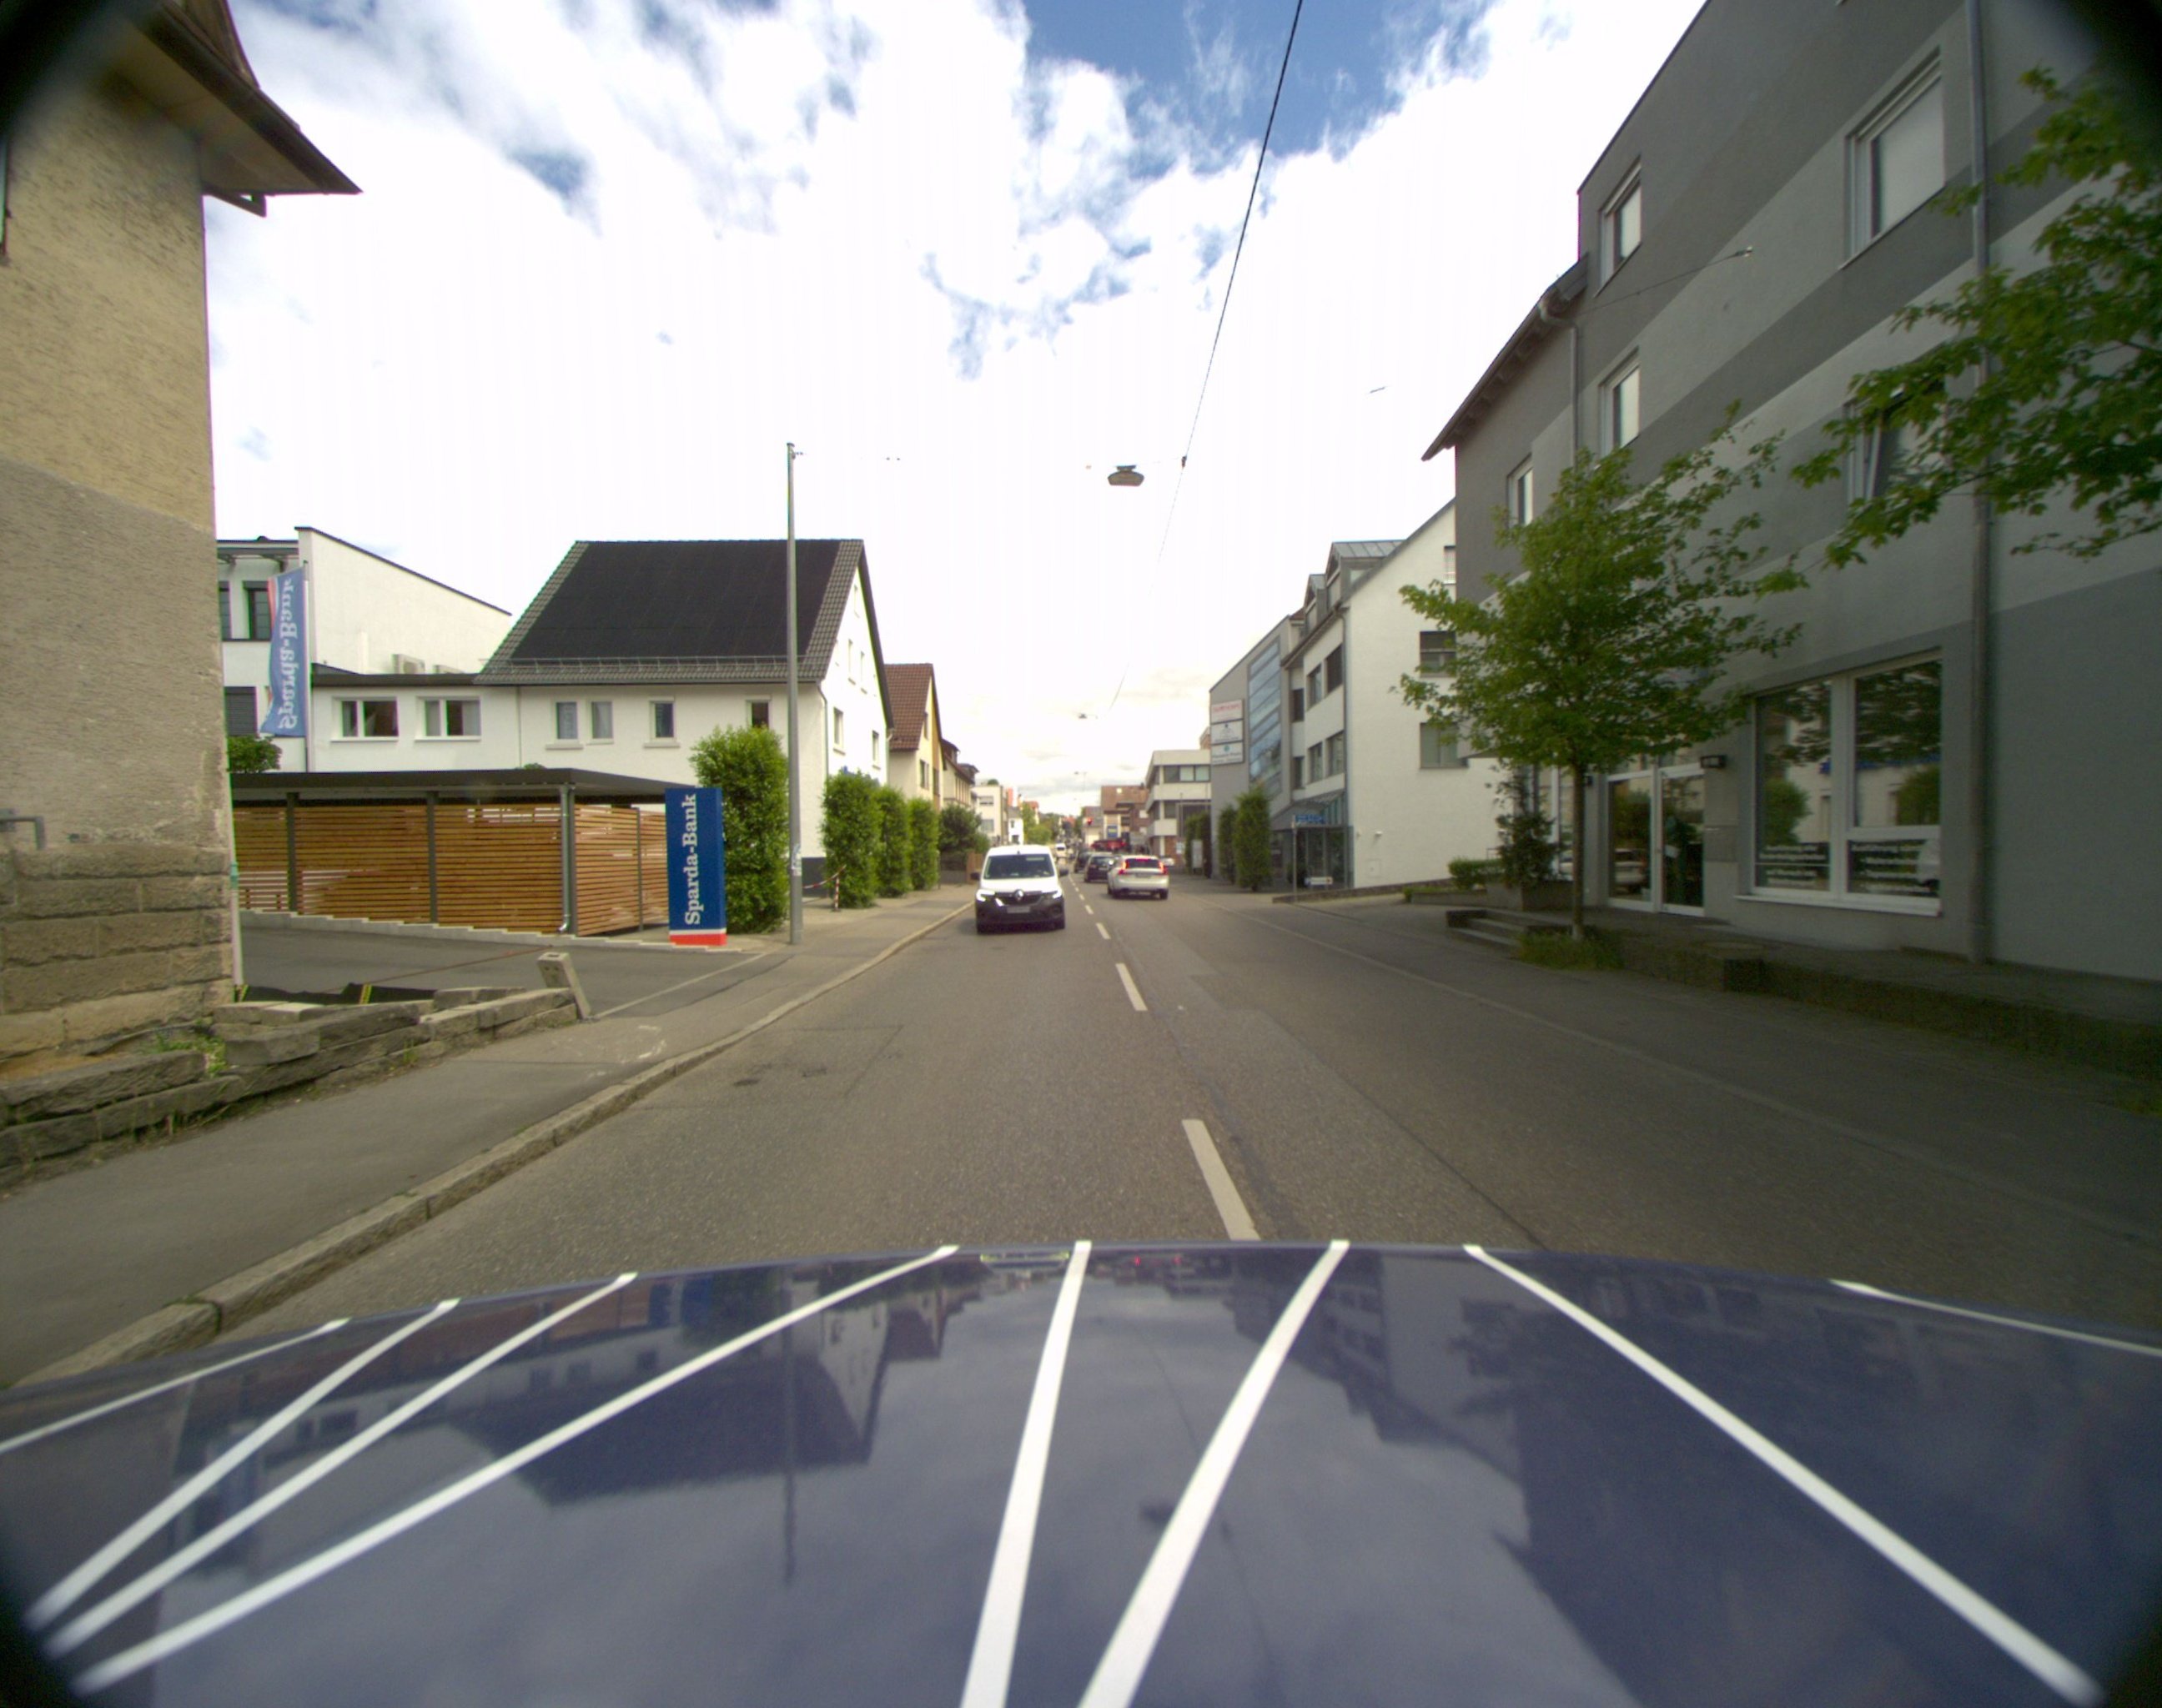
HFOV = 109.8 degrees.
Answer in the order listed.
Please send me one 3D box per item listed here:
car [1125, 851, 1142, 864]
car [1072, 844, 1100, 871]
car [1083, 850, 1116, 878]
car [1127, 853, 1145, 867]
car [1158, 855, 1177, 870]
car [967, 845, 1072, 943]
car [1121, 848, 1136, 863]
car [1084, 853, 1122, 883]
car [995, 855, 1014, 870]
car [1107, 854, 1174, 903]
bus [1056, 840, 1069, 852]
[{"bbox_3d":[6.308,0.409,90.967,1.808,1.521,4.001,-2,1,6],"label":"car"},{"bbox_3d":[0.387,0.283,63.569,2.117,2.139,4.881,0,0,-2],"label":"car"},{"bbox_3d":[1.211,0.620,51.538,1.991,1.727,4.795,2,0,-1],"label":"car"},{"bbox_3d":[6.099,0.662,84.262,1.840,1.418,4.219,-2,1,2],"label":"car"},{"bbox_3d":[8.543,0.785,75.100,1.824,1.321,4.237,-2,1,6],"label":"car"},{"bbox_3d":[-1.195,0.723,16.921,1.871,1.805,5.006,-2,1,0],"label":"car"},{"bbox_3d":[6.070,0.196,96.245,1.701,1.766,4.462,-2,1,6],"label":"car"},{"bbox_3d":[1.176,0.753,42.189,1.837,1.575,4.036,1,0,-2],"label":"car"},{"bbox_3d":[-7.195,0.802,71.902,1.656,1.413,3.999,0,0,-3],"label":"car"},{"bbox_3d":[2.052,0.816,27.492,1.902,1.550,4.799,2,0,-1],"label":"car"},{"bbox_3d":[-4.936,-2.120,200.793,3.134,3.239,9.747,-2,1,-2],"label":"bus"}]
